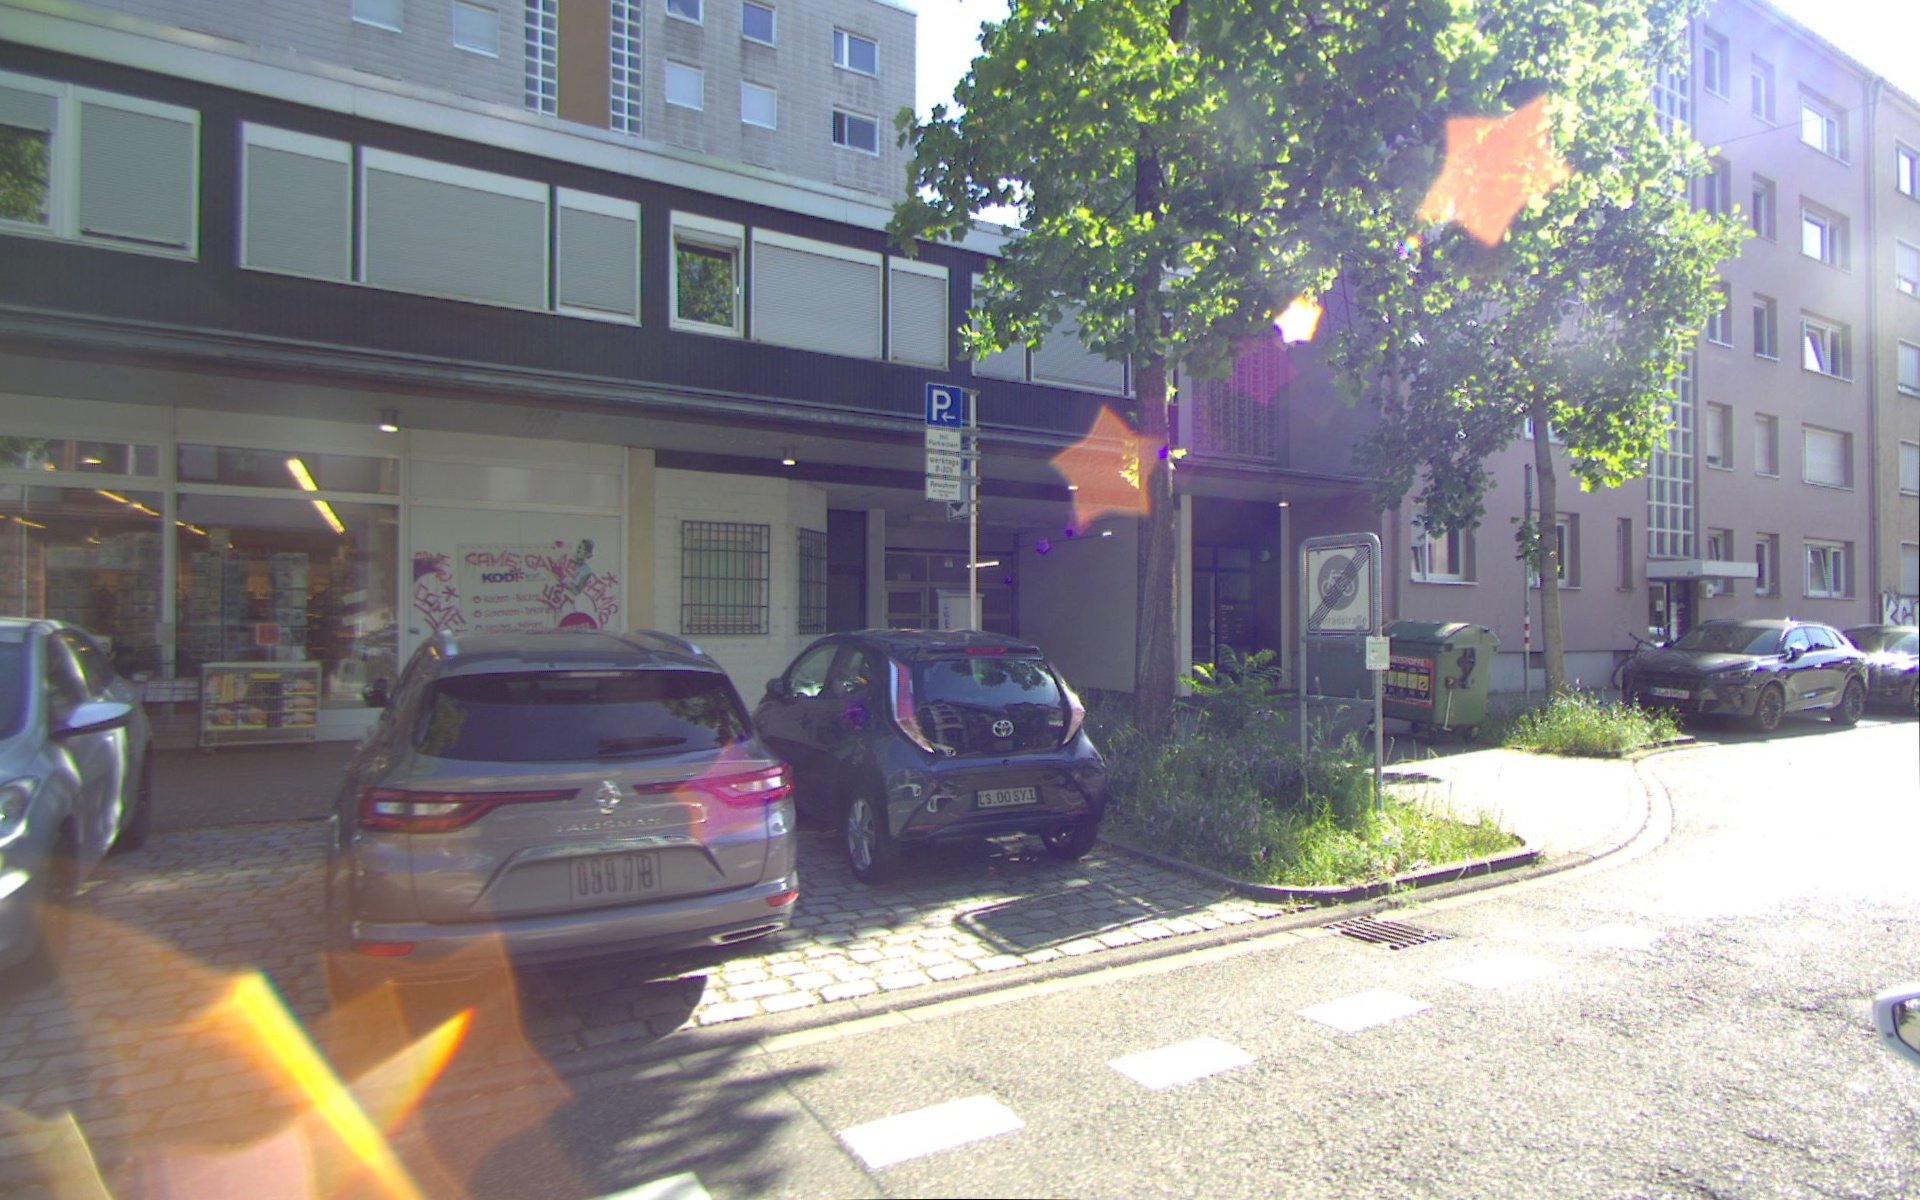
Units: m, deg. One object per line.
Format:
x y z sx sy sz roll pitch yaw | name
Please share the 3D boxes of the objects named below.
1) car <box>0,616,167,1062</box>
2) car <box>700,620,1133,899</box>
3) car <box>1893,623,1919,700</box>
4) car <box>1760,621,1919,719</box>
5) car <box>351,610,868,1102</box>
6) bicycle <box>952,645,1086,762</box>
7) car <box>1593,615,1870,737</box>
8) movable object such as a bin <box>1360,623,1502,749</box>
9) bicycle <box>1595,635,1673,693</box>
-5.042 0.841 4.667 1.794 1.483 3.962 1 -1 -34 | car
-0.657 0.922 7.780 1.624 1.452 4.286 1 0 -29 | car
21.517 1.295 20.949 4.571 1.517 1.712 1 2 -30 | car
17.069 1.220 18.617 4.175 1.517 1.985 1 2 -28 | car
-2.107 0.846 5.503 1.739 1.479 4.289 1 0 -27 | car
0.607 1.003 10.072 1.329 1.092 0.463 1 -1 -33 | bicycle
12.105 1.095 15.720 4.312 1.627 1.868 1 0 -29 | car
5.832 1.025 12.496 1.060 1.469 1.228 1 -1 -22 | movable object such as a bin
13.561 1.269 20.196 1.880 1.116 0.552 1 -1 -30 | bicycle
